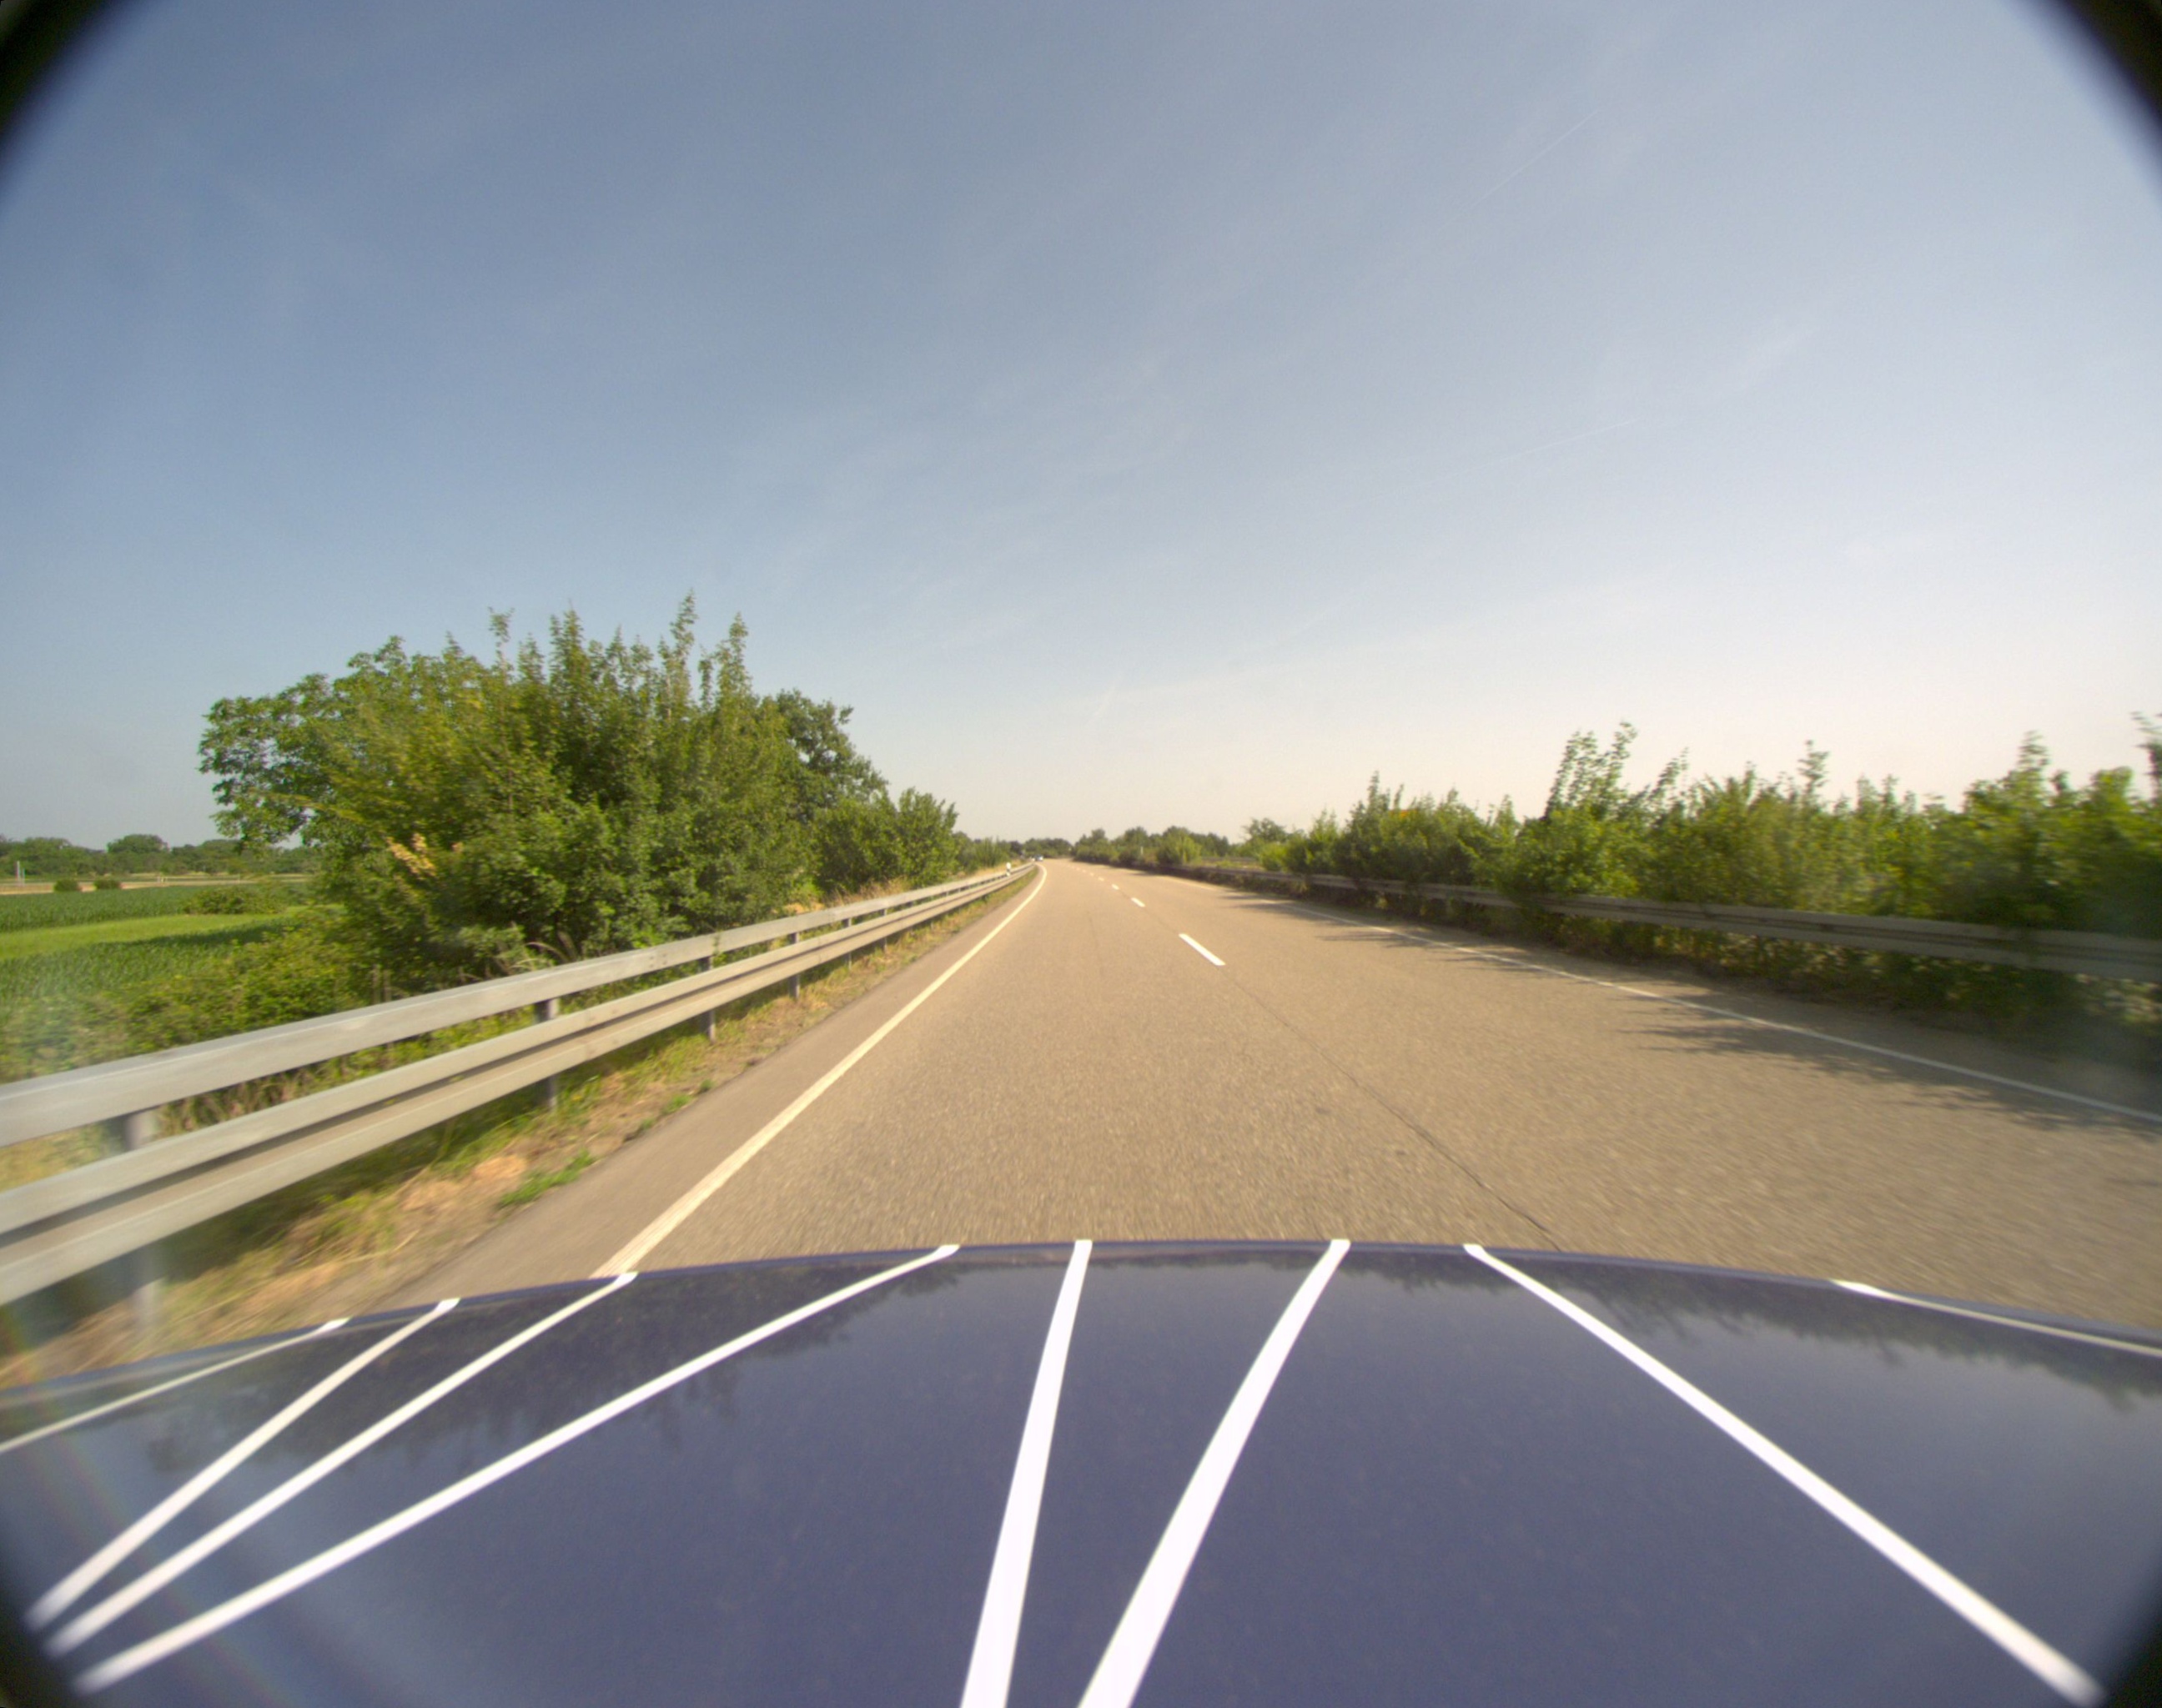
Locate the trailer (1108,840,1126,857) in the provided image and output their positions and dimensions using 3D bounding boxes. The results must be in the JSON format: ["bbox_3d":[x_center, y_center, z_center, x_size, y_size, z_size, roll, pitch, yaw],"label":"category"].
[{"bbox_3d":[7.493,-1.067,159.640,1.999,3.356,13.420,-2,0,-4],"label":"trailer"}]

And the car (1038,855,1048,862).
[{"bbox_3d":[-8.734,0.930,173.539,1.704,1.474,3.597,-3,-1,-13],"label":"car"}]
